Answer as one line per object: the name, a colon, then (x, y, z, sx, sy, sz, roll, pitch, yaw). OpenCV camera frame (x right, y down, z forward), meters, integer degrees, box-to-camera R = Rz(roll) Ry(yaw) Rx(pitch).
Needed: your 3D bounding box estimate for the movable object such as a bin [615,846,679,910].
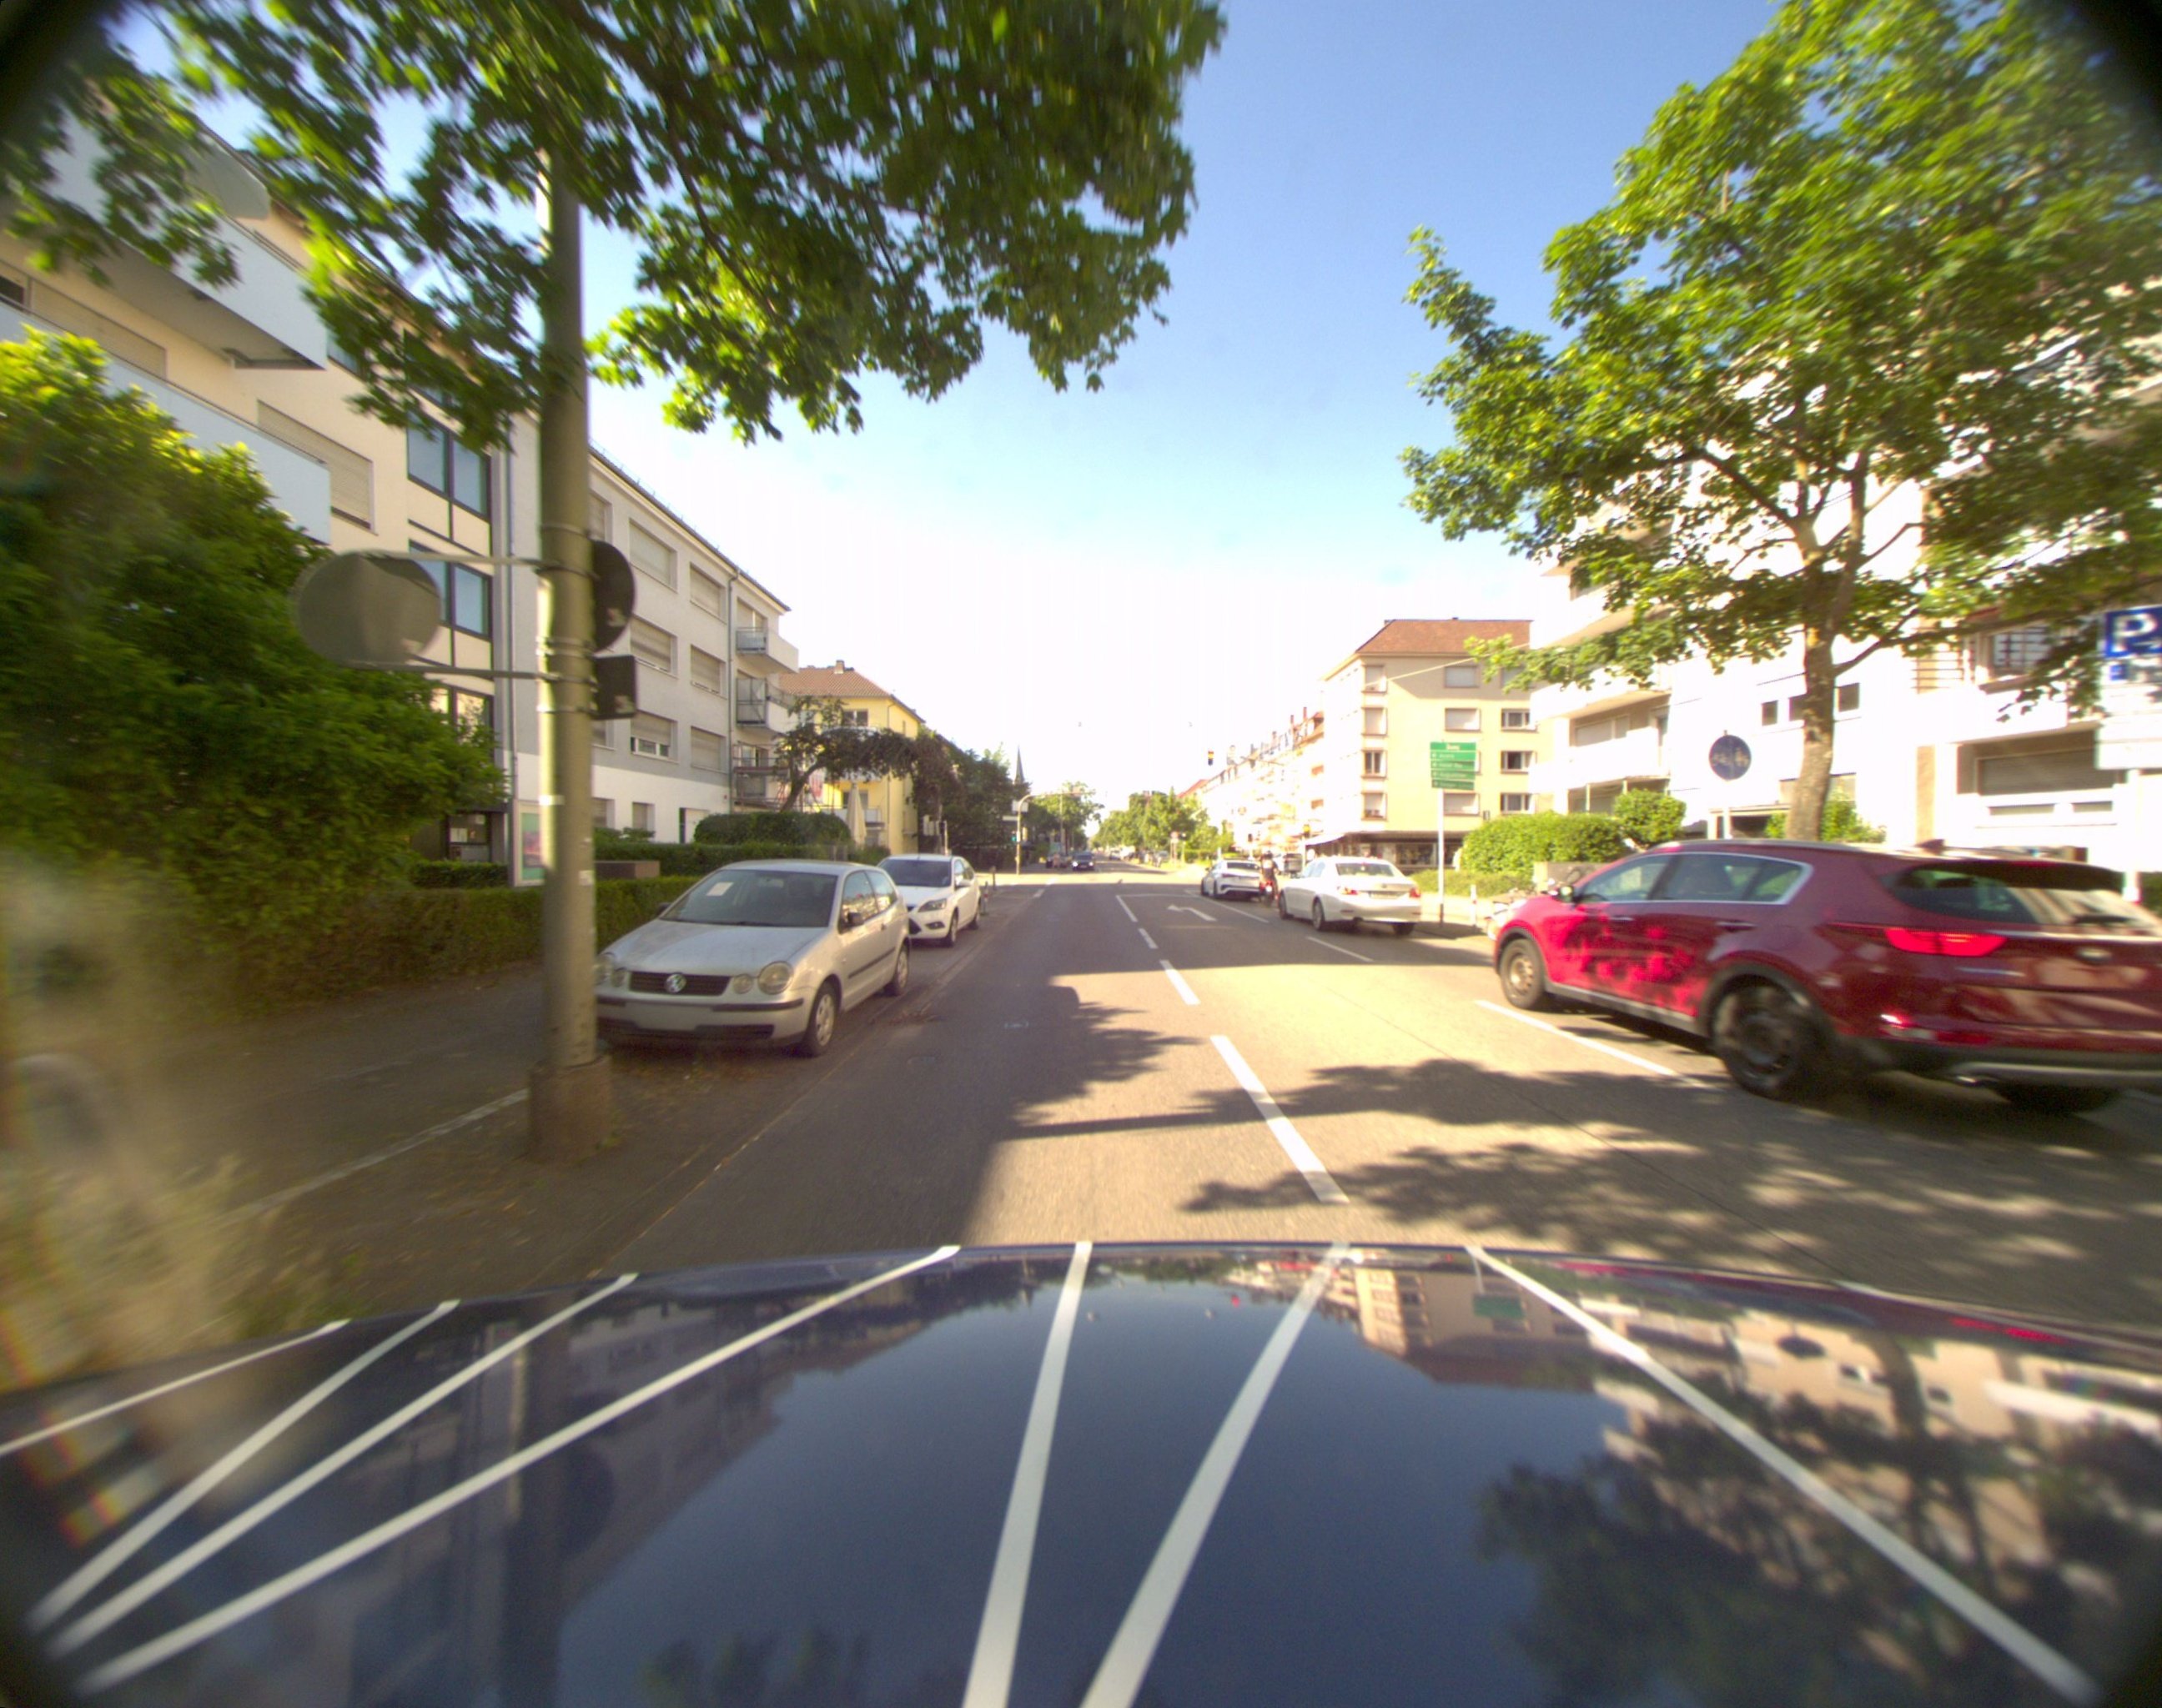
movable object such as a bin: (-10.456, 0.567, 18.331, 1.090, 1.483, 0.842, 1, 1, -9)

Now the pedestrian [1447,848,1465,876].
pedestrian: (23.586, 0.522, 47.776, 0.728, 1.725, 0.683, 0, 2, -1)

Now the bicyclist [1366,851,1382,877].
bicyclist: (17.739, 0.592, 45.995, 0.685, 1.598, 0.578, 0, 1, -1)

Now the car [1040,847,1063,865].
car: (-2.610, 0.171, 68.061, 1.822, 1.542, 4.304, 0, 1, 1)

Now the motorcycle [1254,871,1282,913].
motorcycle: (5.469, 1.092, 22.319, 0.449, 1.115, 1.933, 3, 1, 5)

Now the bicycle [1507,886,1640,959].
bicycle: (8.303, 1.144, 12.840, 1.973, 1.156, 0.519, -1, 1, -4)

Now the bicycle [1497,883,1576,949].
bicycle: (8.430, 1.114, 14.136, 0.427, 1.072, 1.706, 1, 0, 0)

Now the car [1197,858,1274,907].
car: (5.256, 0.912, 26.405, 1.702, 1.398, 4.505, 3, 1, 0)

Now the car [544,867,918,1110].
car: (-2.701, 0.911, 6.892, 1.571, 1.448, 3.864, 1, 1, 0)

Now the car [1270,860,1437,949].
car: (5.510, 0.935, 16.091, 1.818, 1.456, 4.778, 2, 1, 1)

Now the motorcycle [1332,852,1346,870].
motorcycle: (19.973, 0.549, 58.906, 0.570, 1.360, 1.763, 1, 1, 2)

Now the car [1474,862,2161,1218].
car: (4.984, 0.936, 5.814, 1.726, 1.607, 4.300, 3, 0, 1)

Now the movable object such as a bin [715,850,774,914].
movable object such as a bin: (-8.063, 0.655, 18.233, 1.090, 1.465, 0.842, 1, 1, -9)

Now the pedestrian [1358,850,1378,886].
pedestrian: (13.029, 0.631, 34.523, 0.659, 1.649, 0.682, 0, 1, 2)

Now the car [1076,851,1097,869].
car: (0.476, 0.458, 61.545, 1.654, 1.348, 4.304, 0, 1, 1)

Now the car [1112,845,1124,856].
car: (6.449, -0.640, 134.300, 1.966, 1.911, 5.496, 0, 1, 1)

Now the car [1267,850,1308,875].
car: (14.209, 0.569, 52.499, 1.764, 1.613, 4.304, 0, 1, 1)

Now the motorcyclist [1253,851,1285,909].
motorcyclist: (5.506, 0.744, 22.296, 0.730, 1.637, 0.918, 3, 1, 6)

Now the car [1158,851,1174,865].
car: (8.489, 0.421, 75.948, 1.322, 1.348, 3.093, 0, 1, 1)

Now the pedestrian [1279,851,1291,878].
pedestrian: (12.850, 0.653, 47.796, 0.671, 1.709, 0.584, 1, 2, 10)

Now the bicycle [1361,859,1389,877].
bicycle: (17.777, 0.842, 45.959, 1.565, 1.070, 0.449, 0, 1, -1)

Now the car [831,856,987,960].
car: (-2.866, 0.824, 13.595, 1.743, 1.473, 4.195, 1, 1, 1)

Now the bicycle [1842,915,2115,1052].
bicycle: (8.158, 1.156, 6.946, 1.831, 1.080, 0.560, -2, 1, 0)

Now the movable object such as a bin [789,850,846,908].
movable object such as a bin: (-6.429, 0.600, 18.575, 1.142, 1.347, 0.842, 2, 1, -9)

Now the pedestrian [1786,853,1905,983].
pedestrian: (10.379, 0.834, 10.352, 0.671, 1.677, 0.929, -1, 1, 0)

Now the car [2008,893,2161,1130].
car: (7.707, 1.039, 3.747, 1.508, 1.467, 3.895, -1, 0, 0)
